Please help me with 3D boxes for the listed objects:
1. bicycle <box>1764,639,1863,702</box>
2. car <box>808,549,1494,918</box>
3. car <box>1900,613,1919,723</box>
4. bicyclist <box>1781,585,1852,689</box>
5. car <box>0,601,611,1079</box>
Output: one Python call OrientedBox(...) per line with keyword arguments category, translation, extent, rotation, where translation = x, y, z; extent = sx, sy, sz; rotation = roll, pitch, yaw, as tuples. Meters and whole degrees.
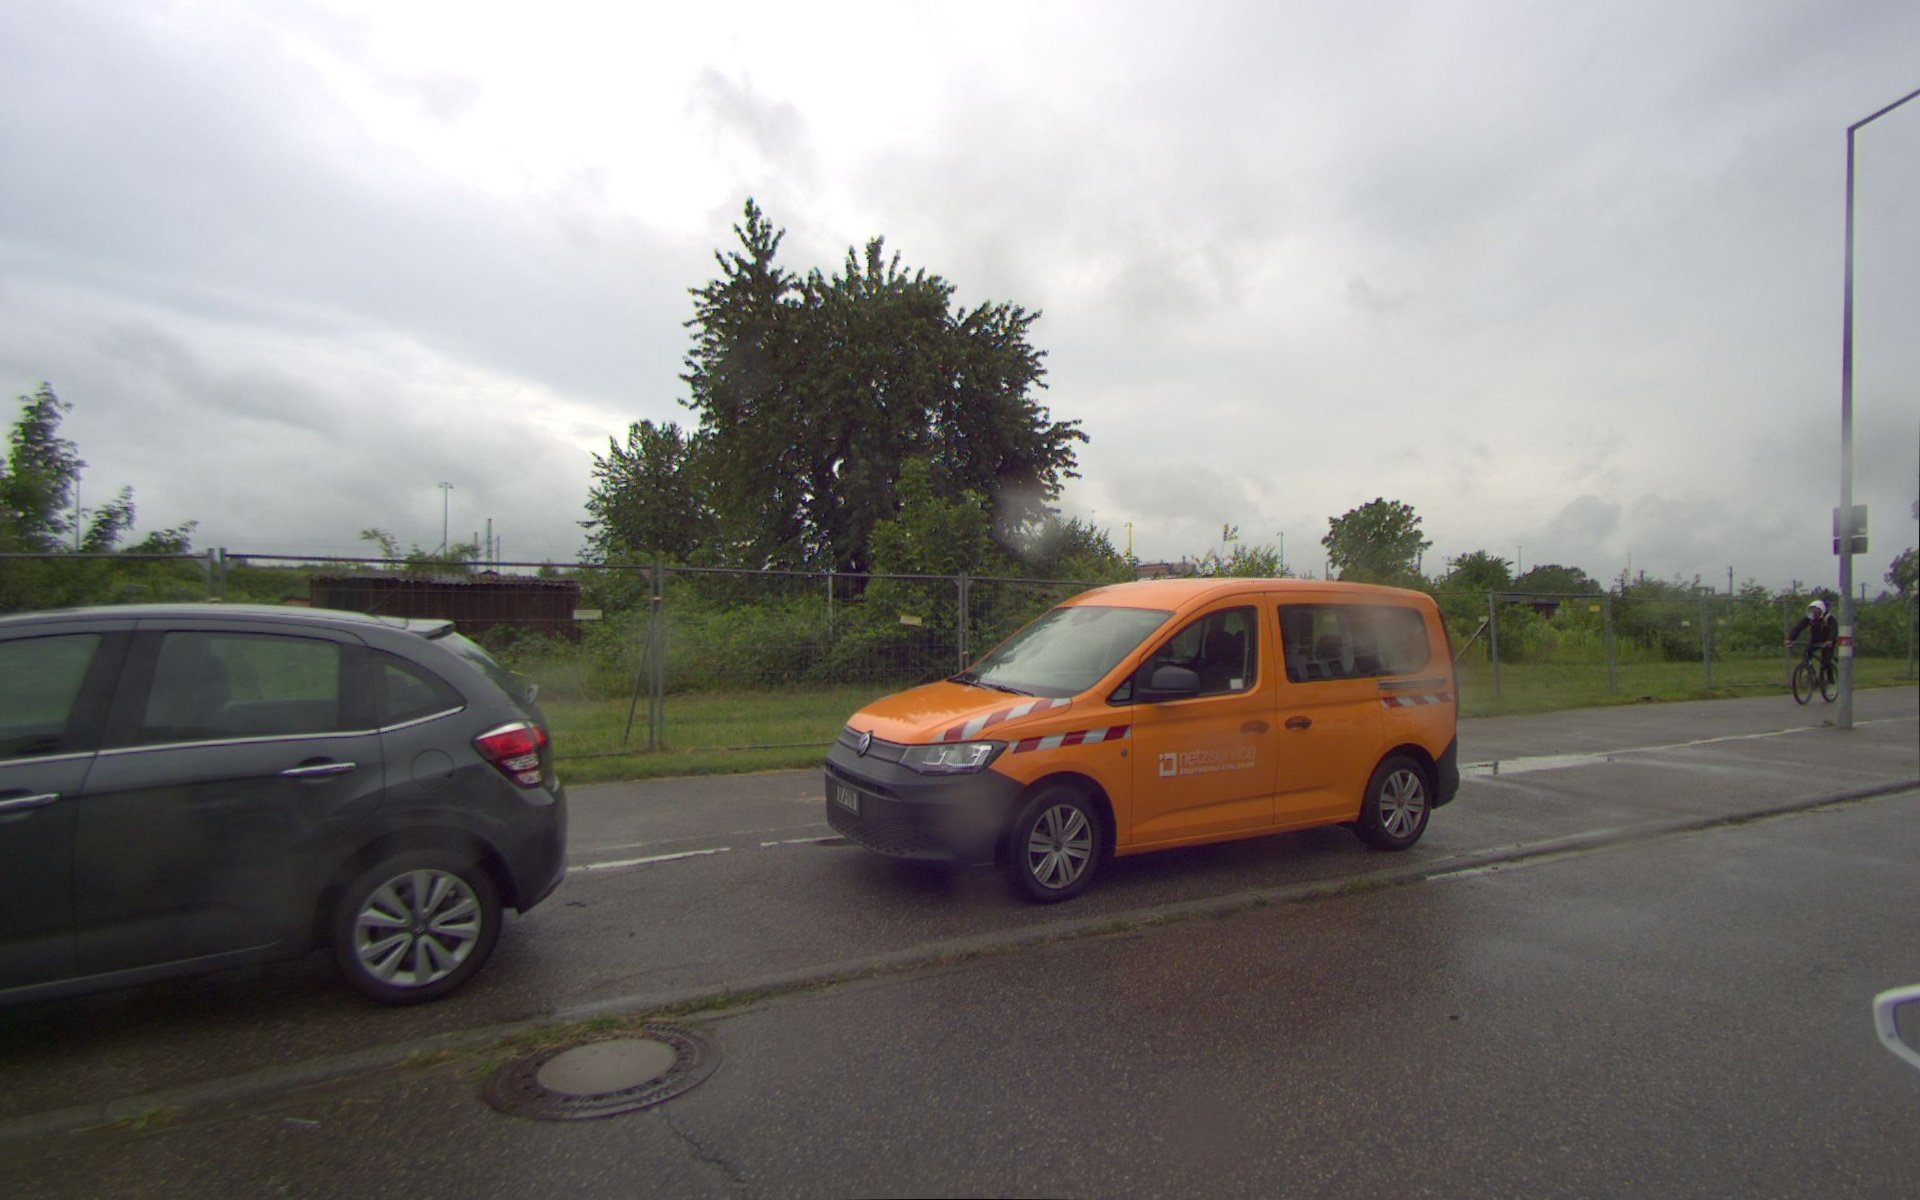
OrientedBox(category="bicycle", translation=(15.668, 1.268, 18.429), extent=(2.119, 1.056, 0.713), rotation=(1, 0, -30))
OrientedBox(category="car", translation=(1.339, 0.672, 6.753), extent=(4.277, 1.791, 1.932), rotation=(1, 0, -29))
OrientedBox(category="car", translation=(15.978, 1.030, 14.944), extent=(3.985, 1.582, 1.795), rotation=(1, 2, -30))
OrientedBox(category="bicyclist", translation=(15.746, 0.660, 18.471), extent=(0.996, 1.854, 0.695), rotation=(0, 0, -30))
OrientedBox(category="car", translation=(-3.944, 0.765, 3.651), extent=(4.835, 1.522, 1.675), rotation=(1, -1, -31))
